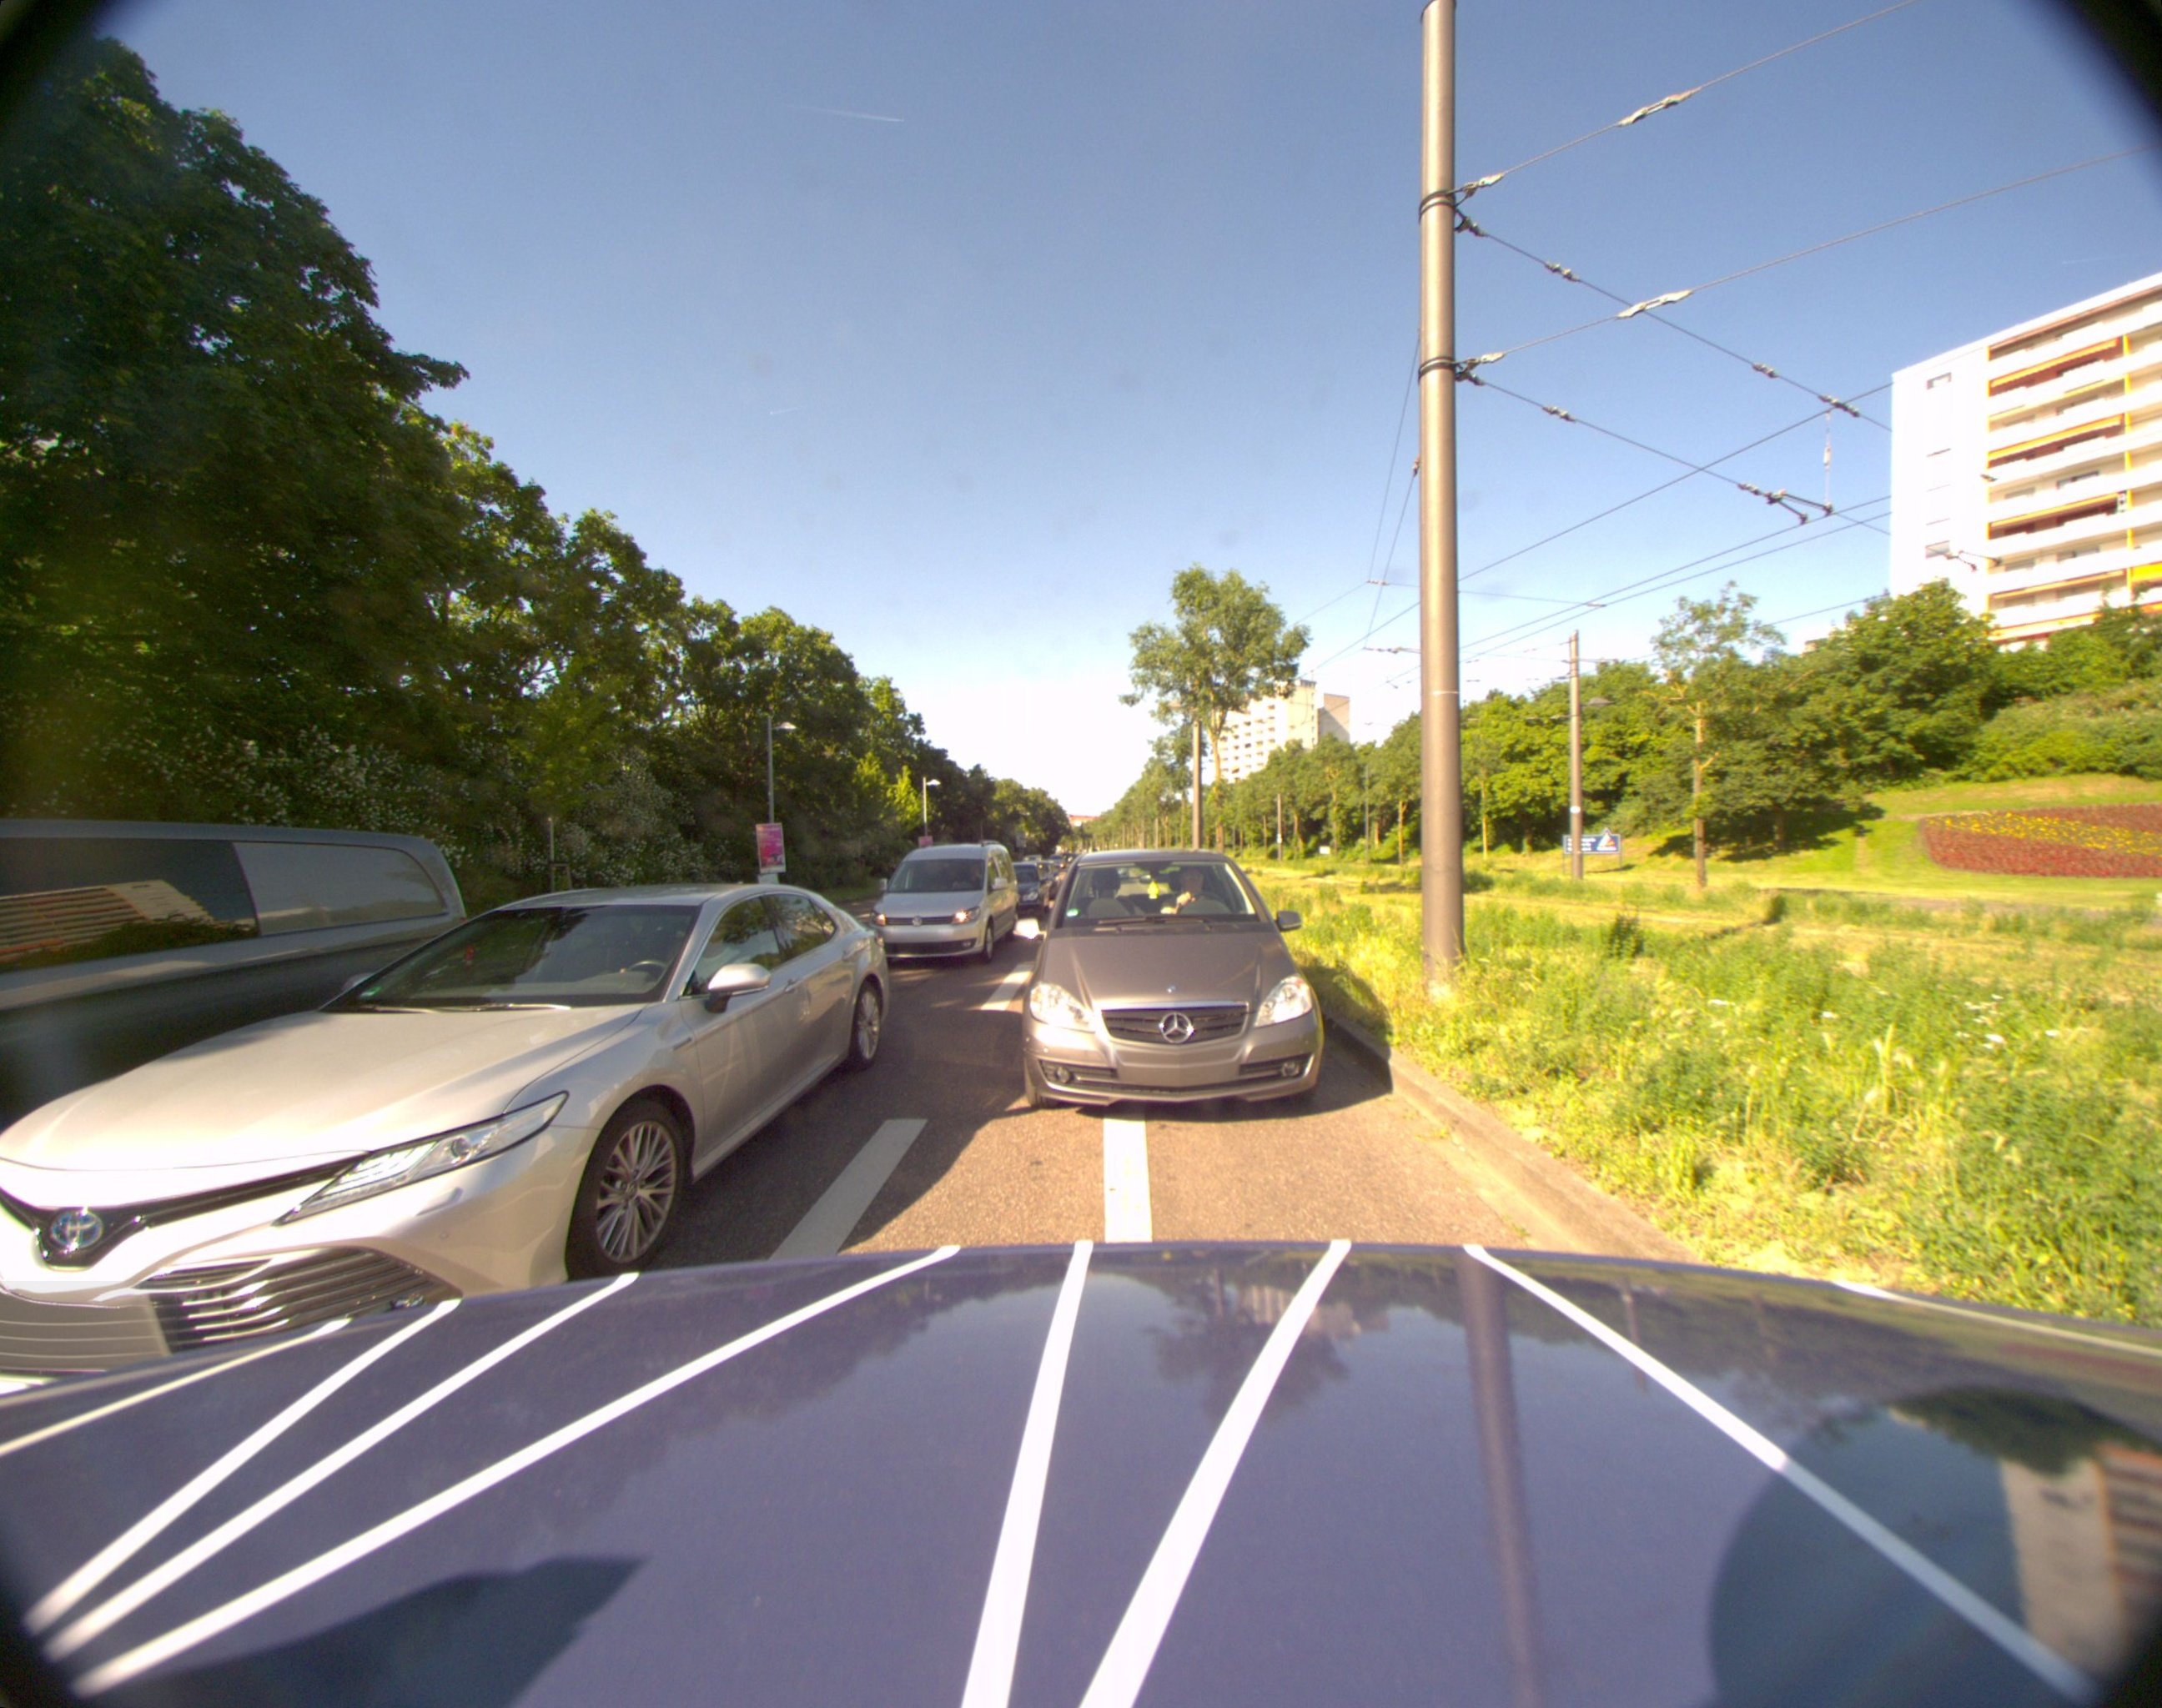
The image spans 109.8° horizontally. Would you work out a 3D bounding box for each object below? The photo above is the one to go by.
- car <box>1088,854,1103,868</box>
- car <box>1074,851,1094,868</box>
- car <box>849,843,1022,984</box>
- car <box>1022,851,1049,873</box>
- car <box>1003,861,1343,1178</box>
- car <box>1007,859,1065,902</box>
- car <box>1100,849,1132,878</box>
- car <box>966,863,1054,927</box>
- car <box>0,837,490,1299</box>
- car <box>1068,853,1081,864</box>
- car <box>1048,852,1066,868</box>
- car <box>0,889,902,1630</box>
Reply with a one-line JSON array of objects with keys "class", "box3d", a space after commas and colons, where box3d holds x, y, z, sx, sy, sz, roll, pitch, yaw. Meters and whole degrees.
[{"class": "car", "box3d": [1.821, 0.844, 95.884, 1.777, 1.597, 4.384, -1, 0, 1]}, {"class": "car", "box3d": [0.316, 0.490, 71.020, 1.777, 1.597, 4.384, -1, 0, 1]}, {"class": "car", "box3d": [-2.153, 0.797, 12.620, 1.822, 1.893, 4.622, -1, 0, 2]}, {"class": "car", "box3d": [-3.547, 0.604, 59.734, 1.777, 1.597, 4.384, -1, 0, 1]}, {"class": "car", "box3d": [0.516, 0.897, 6.207, 1.777, 1.597, 4.384, -1, 0, 1]}, {"class": "car", "box3d": [-1.592, 0.913, 28.097, 1.776, 1.395, 4.067, -1, 0, 2]}, {"class": "car", "box3d": [2.018, 0.544, 44.843, 1.777, 1.597, 4.384, -1, 0, 1]}, {"class": "car", "box3d": [-1.723, 0.970, 19.716, 1.776, 1.395, 4.067, -1, 0, 2]}, {"class": "car", "box3d": [-5.420, 0.888, 3.009, 1.998, 1.882, 5.148, -1, 0, 1]}, {"class": "car", "box3d": [-1.001, 0.708, 119.135, 1.777, 1.597, 4.300, -1, 0, 1]}, {"class": "car", "box3d": [-2.527, 0.583, 80.953, 1.777, 1.597, 4.384, -1, 0, 1]}, {"class": "car", "box3d": [-2.644, 1.047, 4.122, 2.069, 1.451, 4.749, -1, 0, 2]}]
